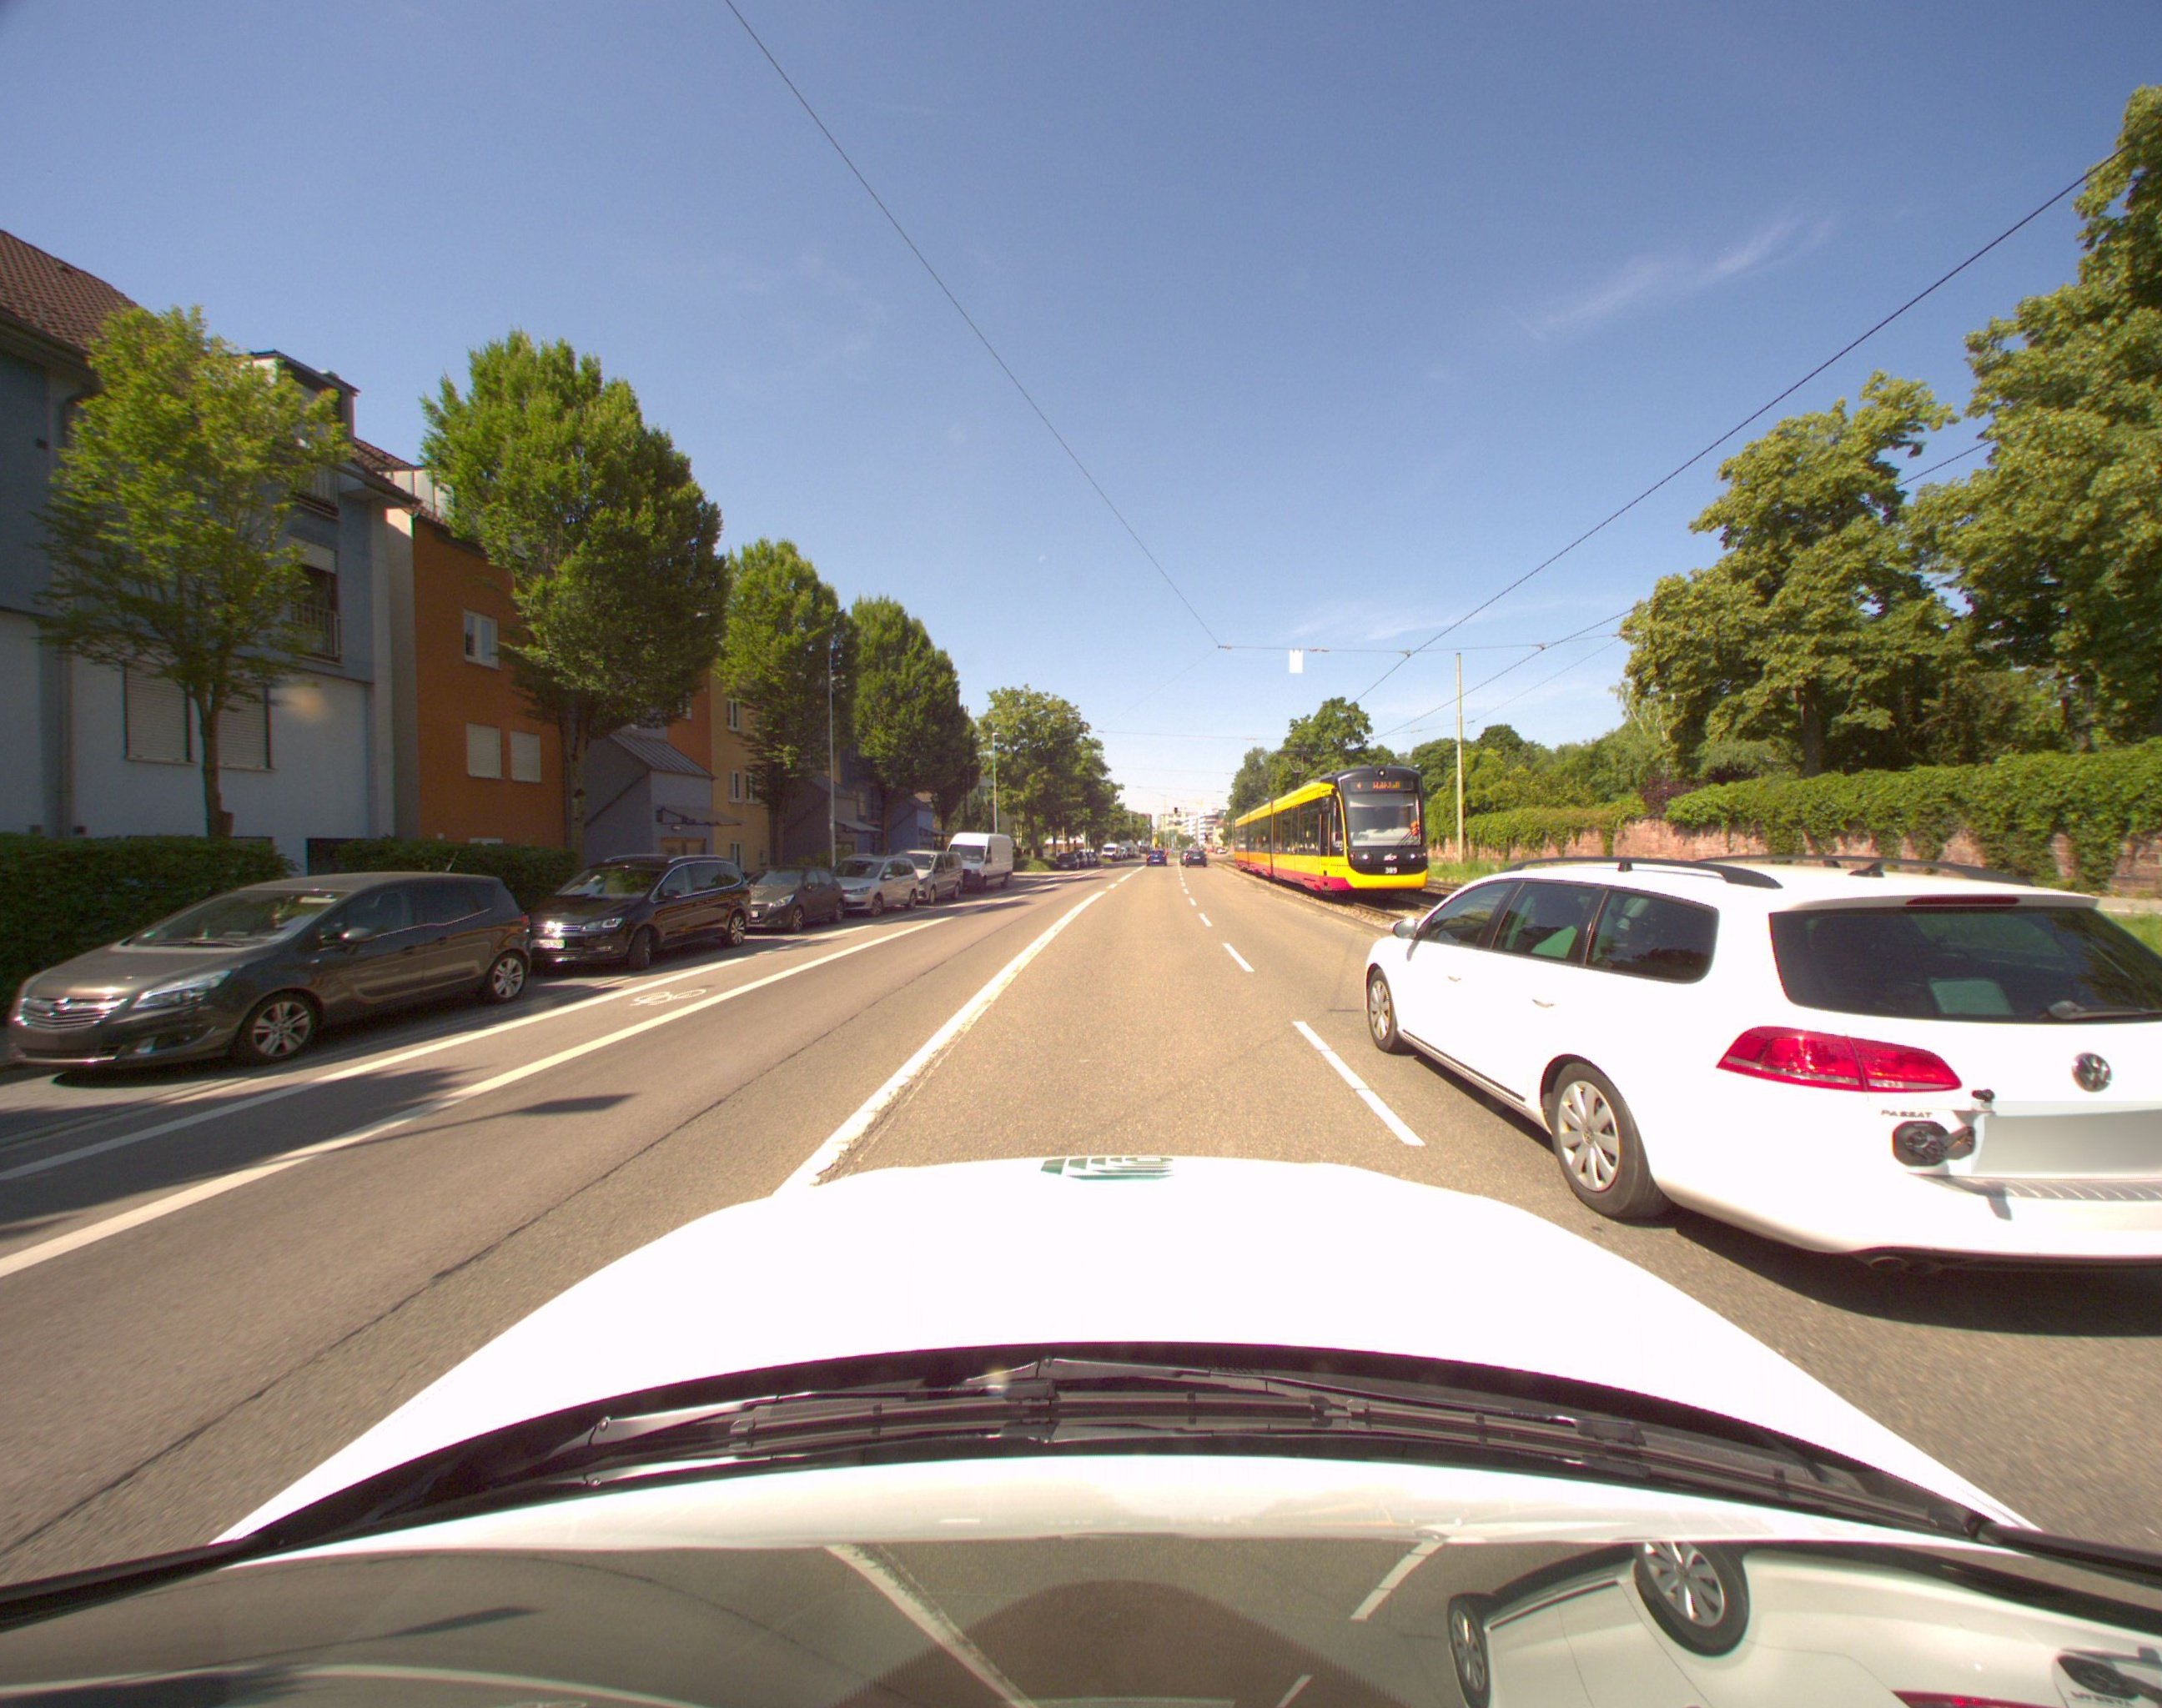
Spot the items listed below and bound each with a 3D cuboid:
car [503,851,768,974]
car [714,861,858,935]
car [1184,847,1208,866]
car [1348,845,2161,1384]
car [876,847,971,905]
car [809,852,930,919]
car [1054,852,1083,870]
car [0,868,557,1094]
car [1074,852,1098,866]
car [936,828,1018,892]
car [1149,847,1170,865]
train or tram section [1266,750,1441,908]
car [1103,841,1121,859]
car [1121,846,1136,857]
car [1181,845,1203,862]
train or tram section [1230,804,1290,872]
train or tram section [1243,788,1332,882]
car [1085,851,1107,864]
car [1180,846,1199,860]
[{"bbox_3d":[-7.295,0.828,14.047,1.763,1.723,4.872,1,0,2],"label":"car"},{"bbox_3d":[-6.893,0.968,19.523,1.683,1.474,4.053,1,0,4],"label":"car"},{"bbox_3d":[9.256,0.186,65.644,1.791,1.507,4.007,0,1,6],"label":"car"},{"bbox_3d":[2.994,0.697,4.466,1.685,1.451,4.460,-1,0,2],"label":"car"},{"bbox_3d":[-5.718,0.733,30.365,1.910,1.948,5.364,1,0,6],"label":"car"},{"bbox_3d":[-6.241,0.849,24.675,1.791,1.724,4.919,2,1,7],"label":"car"},{"bbox_3d":[-1.018,0.552,68.805,1.689,1.417,4.011,-2,0,10],"label":"car"},{"bbox_3d":[-7.765,1.014,8.448,1.710,1.625,4.315,0,0,3],"label":"car"},{"bbox_3d":[0.523,0.494,81.637,1.689,1.352,4.011,-2,0,10],"label":"car"},{"bbox_3d":[-4.715,0.235,38.270,1.984,2.714,7.172,1,0,8],"label":"car"},{"bbox_3d":[6.881,0.142,71.231,1.791,1.507,4.007,0,1,6],"label":"car"},{"bbox_3d":[8.084,-0.658,26.345,2.498,3.747,13.334,-2,0,6],"label":"train or tram section"},{"bbox_3d":[4.409,-0.534,115.728,1.868,2.415,5.130,-2,0,10],"label":"car"},{"bbox_3d":[7.974,-0.440,136.537,1.815,1.867,4.738,-2,0,10],"label":"car"},{"bbox_3d":[9.920,-0.093,72.922,1.791,1.460,4.007,0,1,6],"label":"car"},{"bbox_3d":[11.336,-0.975,52.706,2.498,3.747,13.338,-2,0,7],"label":"train or tram section"},{"bbox_3d":[9.652,-0.830,39.517,2.498,3.747,13.338,-2,0,7],"label":"train or tram section"},{"bbox_3d":[1.604,0.366,86.863,1.689,1.352,4.011,-2,0,10],"label":"car"},{"bbox_3d":[11.480,-0.121,86.372,1.791,1.460,4.007,-2,0,6],"label":"car"}]
